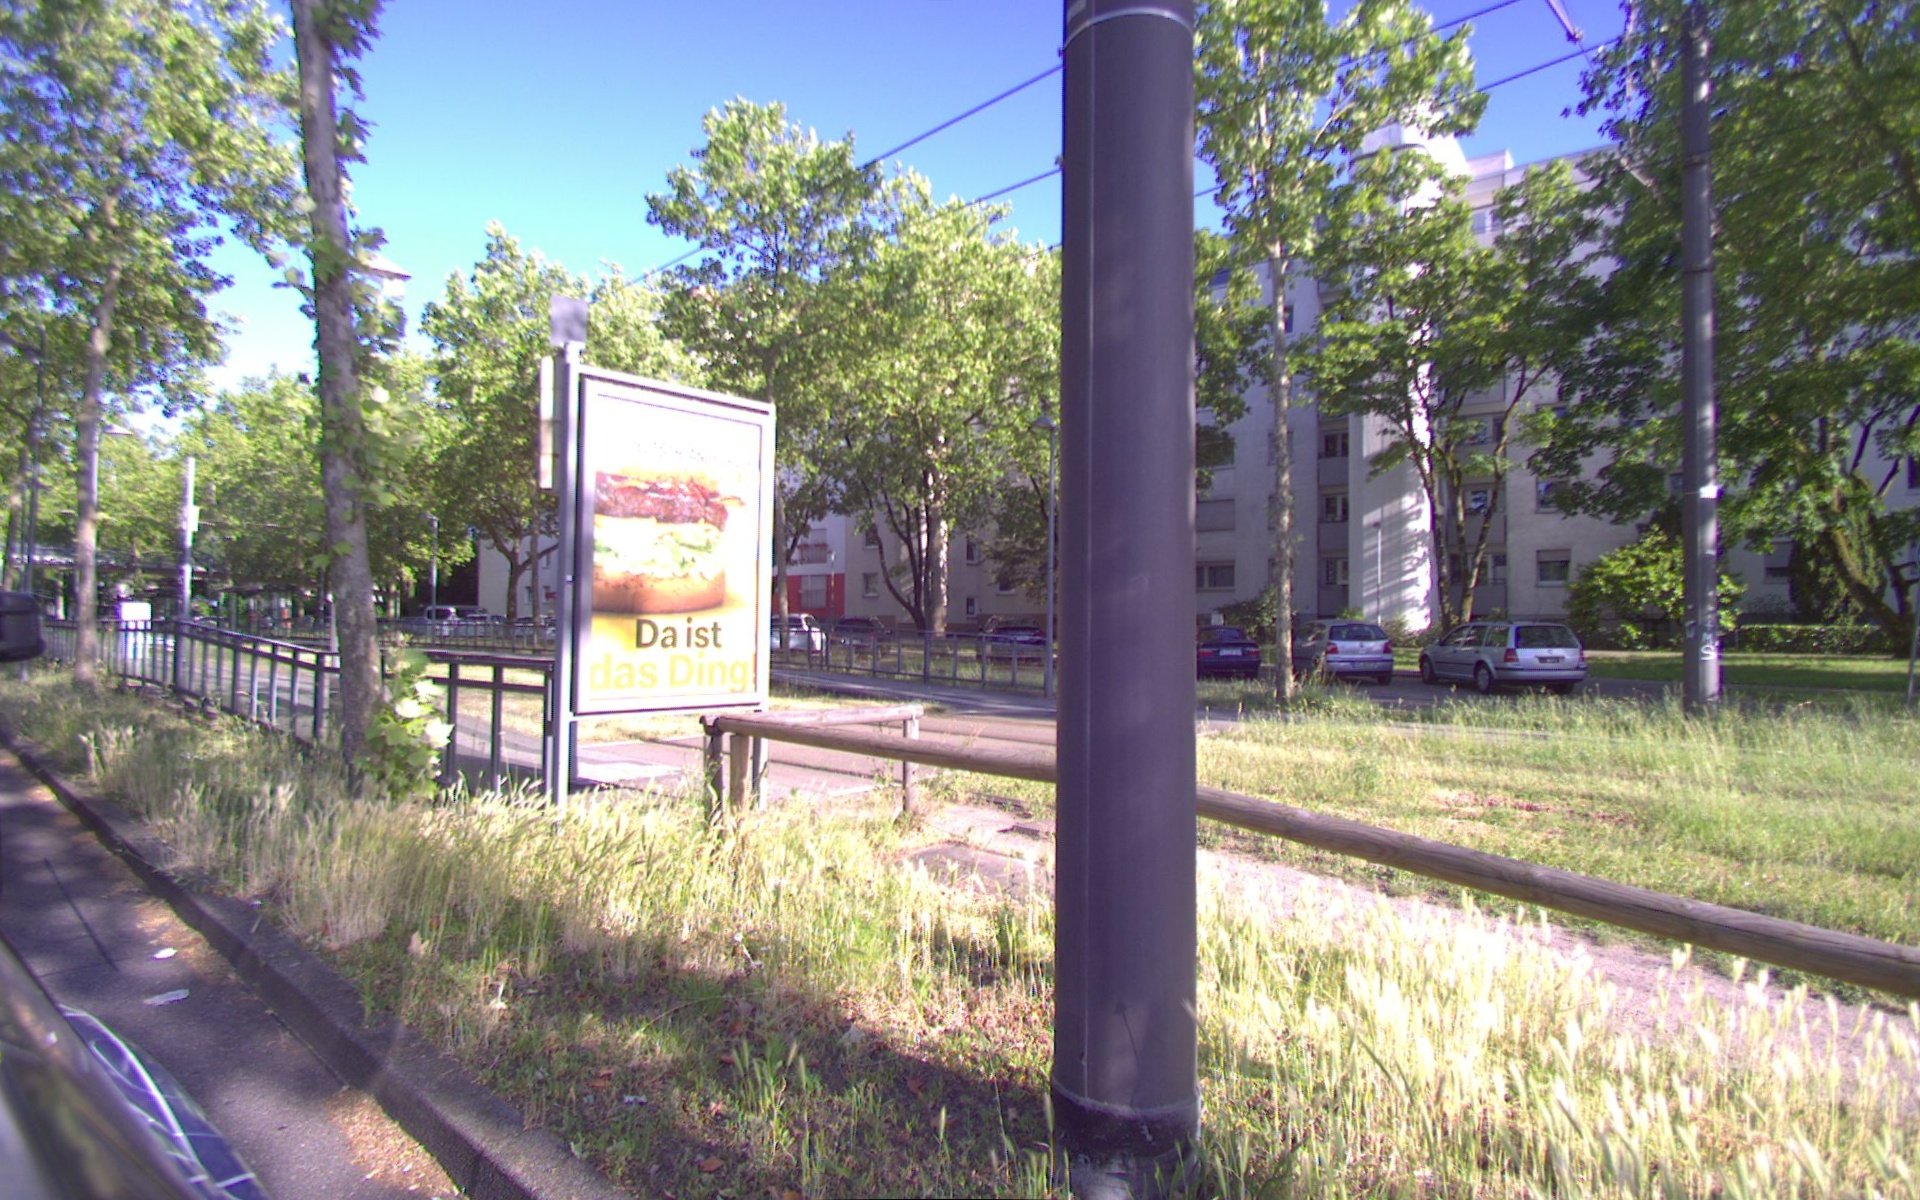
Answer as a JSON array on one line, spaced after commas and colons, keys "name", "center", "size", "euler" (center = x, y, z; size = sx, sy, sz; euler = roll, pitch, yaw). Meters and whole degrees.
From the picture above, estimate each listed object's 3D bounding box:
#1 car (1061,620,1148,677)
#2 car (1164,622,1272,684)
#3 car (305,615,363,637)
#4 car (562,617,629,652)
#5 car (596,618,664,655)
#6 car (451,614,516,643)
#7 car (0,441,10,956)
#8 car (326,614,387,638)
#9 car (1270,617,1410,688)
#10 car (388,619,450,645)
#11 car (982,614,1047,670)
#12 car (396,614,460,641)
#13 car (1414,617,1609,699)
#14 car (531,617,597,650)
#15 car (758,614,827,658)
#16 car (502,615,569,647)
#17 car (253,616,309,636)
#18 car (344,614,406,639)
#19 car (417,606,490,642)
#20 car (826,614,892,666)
[{"name": "car", "center": [3.911, 1.290, 28.008], "size": [1.770, 1.398, 4.049], "euler": [-1, -1, 0]}, {"name": "car", "center": [6.409, 1.274, 25.574], "size": [1.654, 1.398, 4.049], "euler": [-1, -1, 0]}, {"name": "car", "center": [-45.026, 1.828, 72.919], "size": [1.770, 1.510, 4.050], "euler": [-1, -1, -1]}, {"name": "car", "center": [-17.109, 1.596, 47.678], "size": [1.770, 1.510, 4.050], "euler": [-1, -1, -1]}, {"name": "car", "center": [-14.553, 1.566, 44.793], "size": [1.770, 1.510, 4.050], "euler": [-1, -1, -1]}, {"name": "car", "center": [-26.301, 1.551, 55.969], "size": [1.770, 1.510, 4.050], "euler": [-1, -1, -1]}, {"name": "car", "center": [-6.908, 0.437, 5.483], "size": [5.659, 2.221, 2.013], "euler": [-1, -1, 41]}, {"name": "car", "center": [-40.463, 1.736, 68.004], "size": [1.770, 1.510, 4.050], "euler": [-1, -1, -1]}, {"name": "car", "center": [8.860, 1.167, 23.988], "size": [1.740, 1.498, 4.049], "euler": [-1, -1, 0]}, {"name": "car", "center": [-33.333, 1.923, 62.456], "size": [1.770, 1.510, 4.050], "euler": [-1, -1, -1]}, {"name": "car", "center": [1.576, 1.201, 30.057], "size": [1.771, 1.510, 4.047], "euler": [-1, -1, 2]}, {"name": "car", "center": [-31.340, 1.586, 59.729], "size": [1.770, 1.510, 4.050], "euler": [-1, -1, -1]}, {"name": "car", "center": [11.265, 1.118, 21.043], "size": [1.789, 1.498, 4.049], "euler": [-1, -1, 0]}, {"name": "car", "center": [-19.440, 1.636, 49.869], "size": [1.770, 1.510, 4.050], "euler": [-1, -1, -1]}, {"name": "car", "center": [-6.122, 1.274, 37.376], "size": [1.771, 1.510, 4.047], "euler": [-1, -1, 2]}, {"name": "car", "center": [-21.580, 1.537, 51.601], "size": [1.770, 1.510, 4.050], "euler": [-1, -1, -1]}, {"name": "car", "center": [-53.353, 2.011, 79.624], "size": [1.770, 1.510, 4.050], "euler": [-1, -1, -1]}, {"name": "car", "center": [-37.952, 1.685, 65.746], "size": [1.770, 1.510, 4.050], "euler": [-1, -1, -1]}, {"name": "car", "center": [-28.760, 1.325, 57.606], "size": [1.993, 1.933, 4.433], "euler": [-1, -1, -1]}, {"name": "car", "center": [-3.447, 1.345, 35.112], "size": [1.771, 1.676, 4.047], "euler": [-1, -1, 2]}]
